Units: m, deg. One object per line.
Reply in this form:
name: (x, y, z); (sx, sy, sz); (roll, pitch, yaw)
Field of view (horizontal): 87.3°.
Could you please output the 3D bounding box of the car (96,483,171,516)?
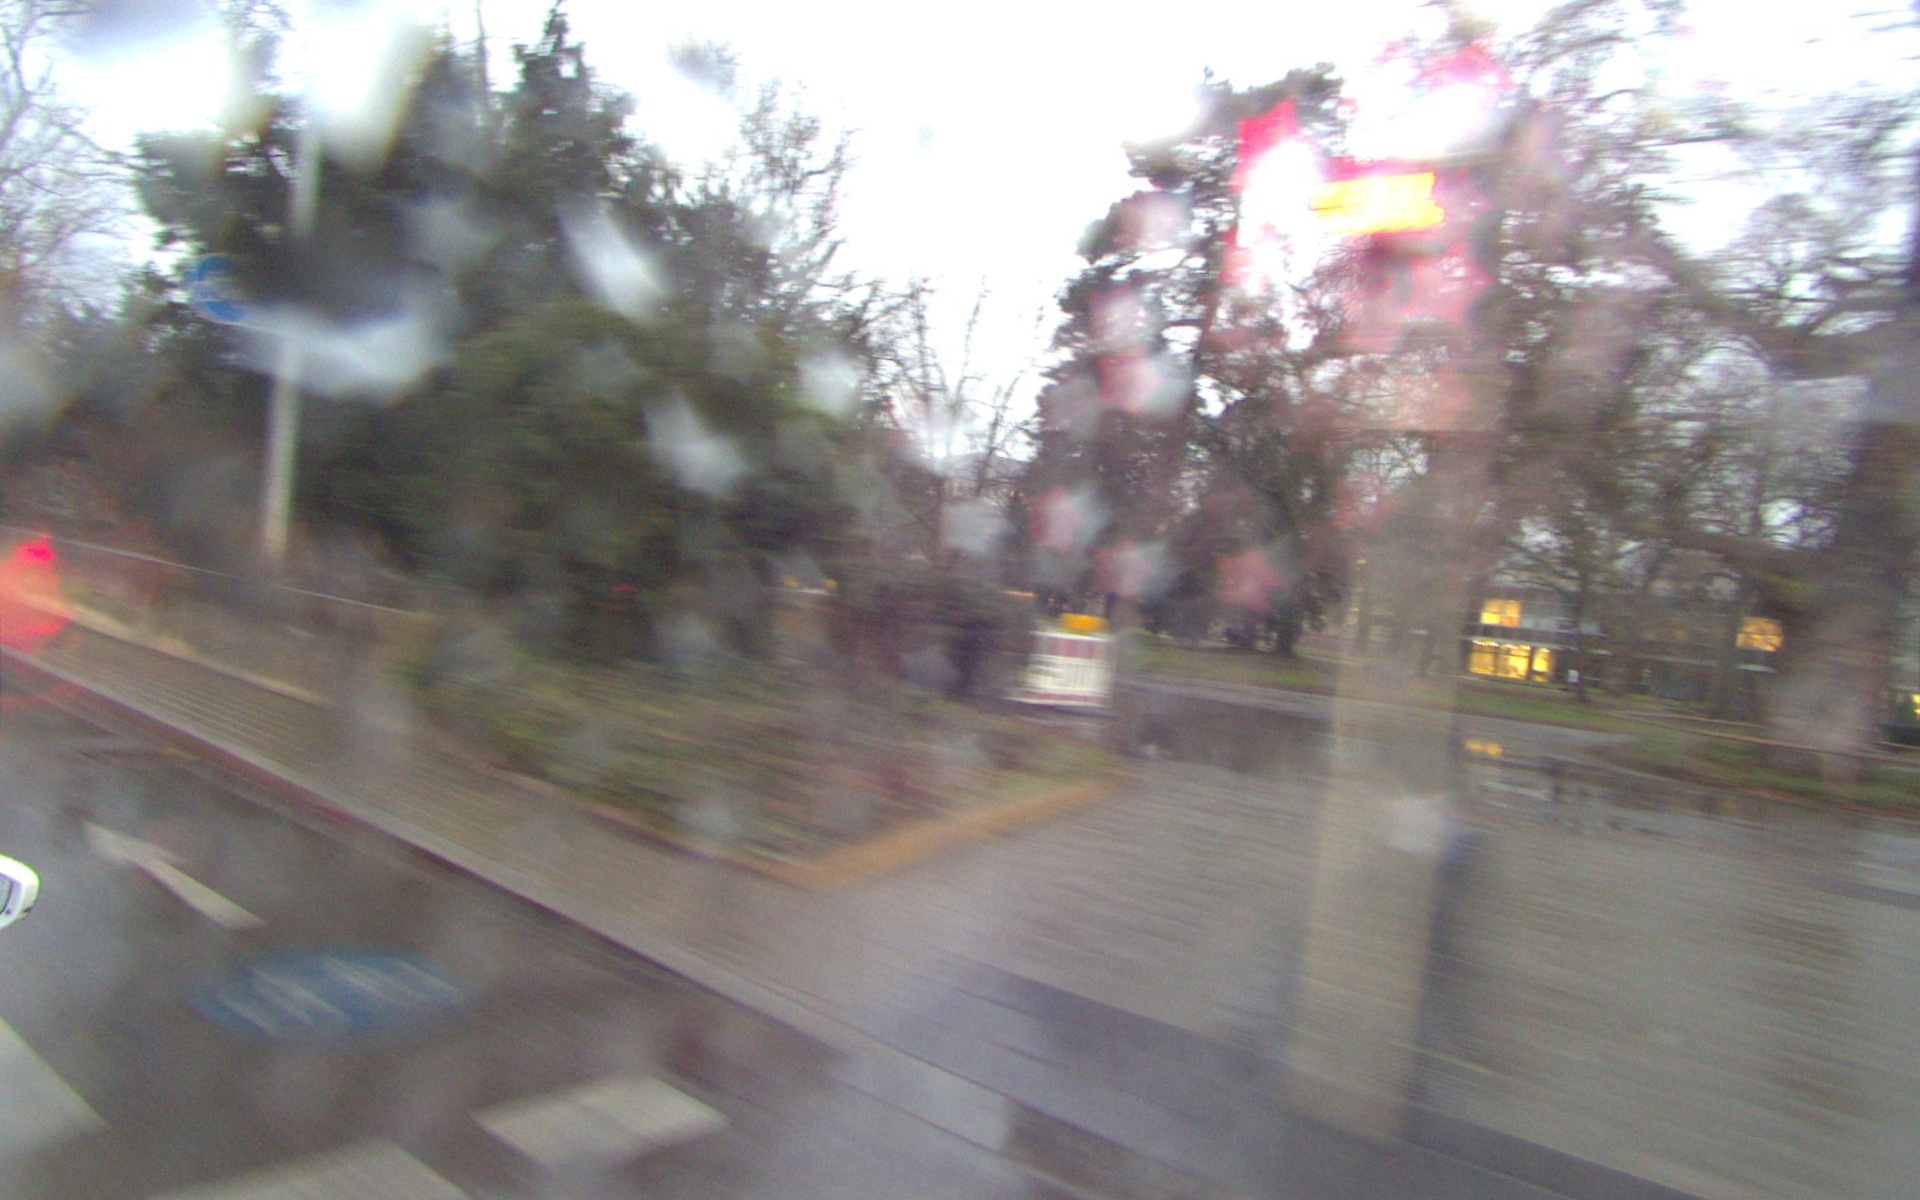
car: (-62.320, -7.566, 75.871); (3.928, 1.682, 1.817); (8, 0, -4)
